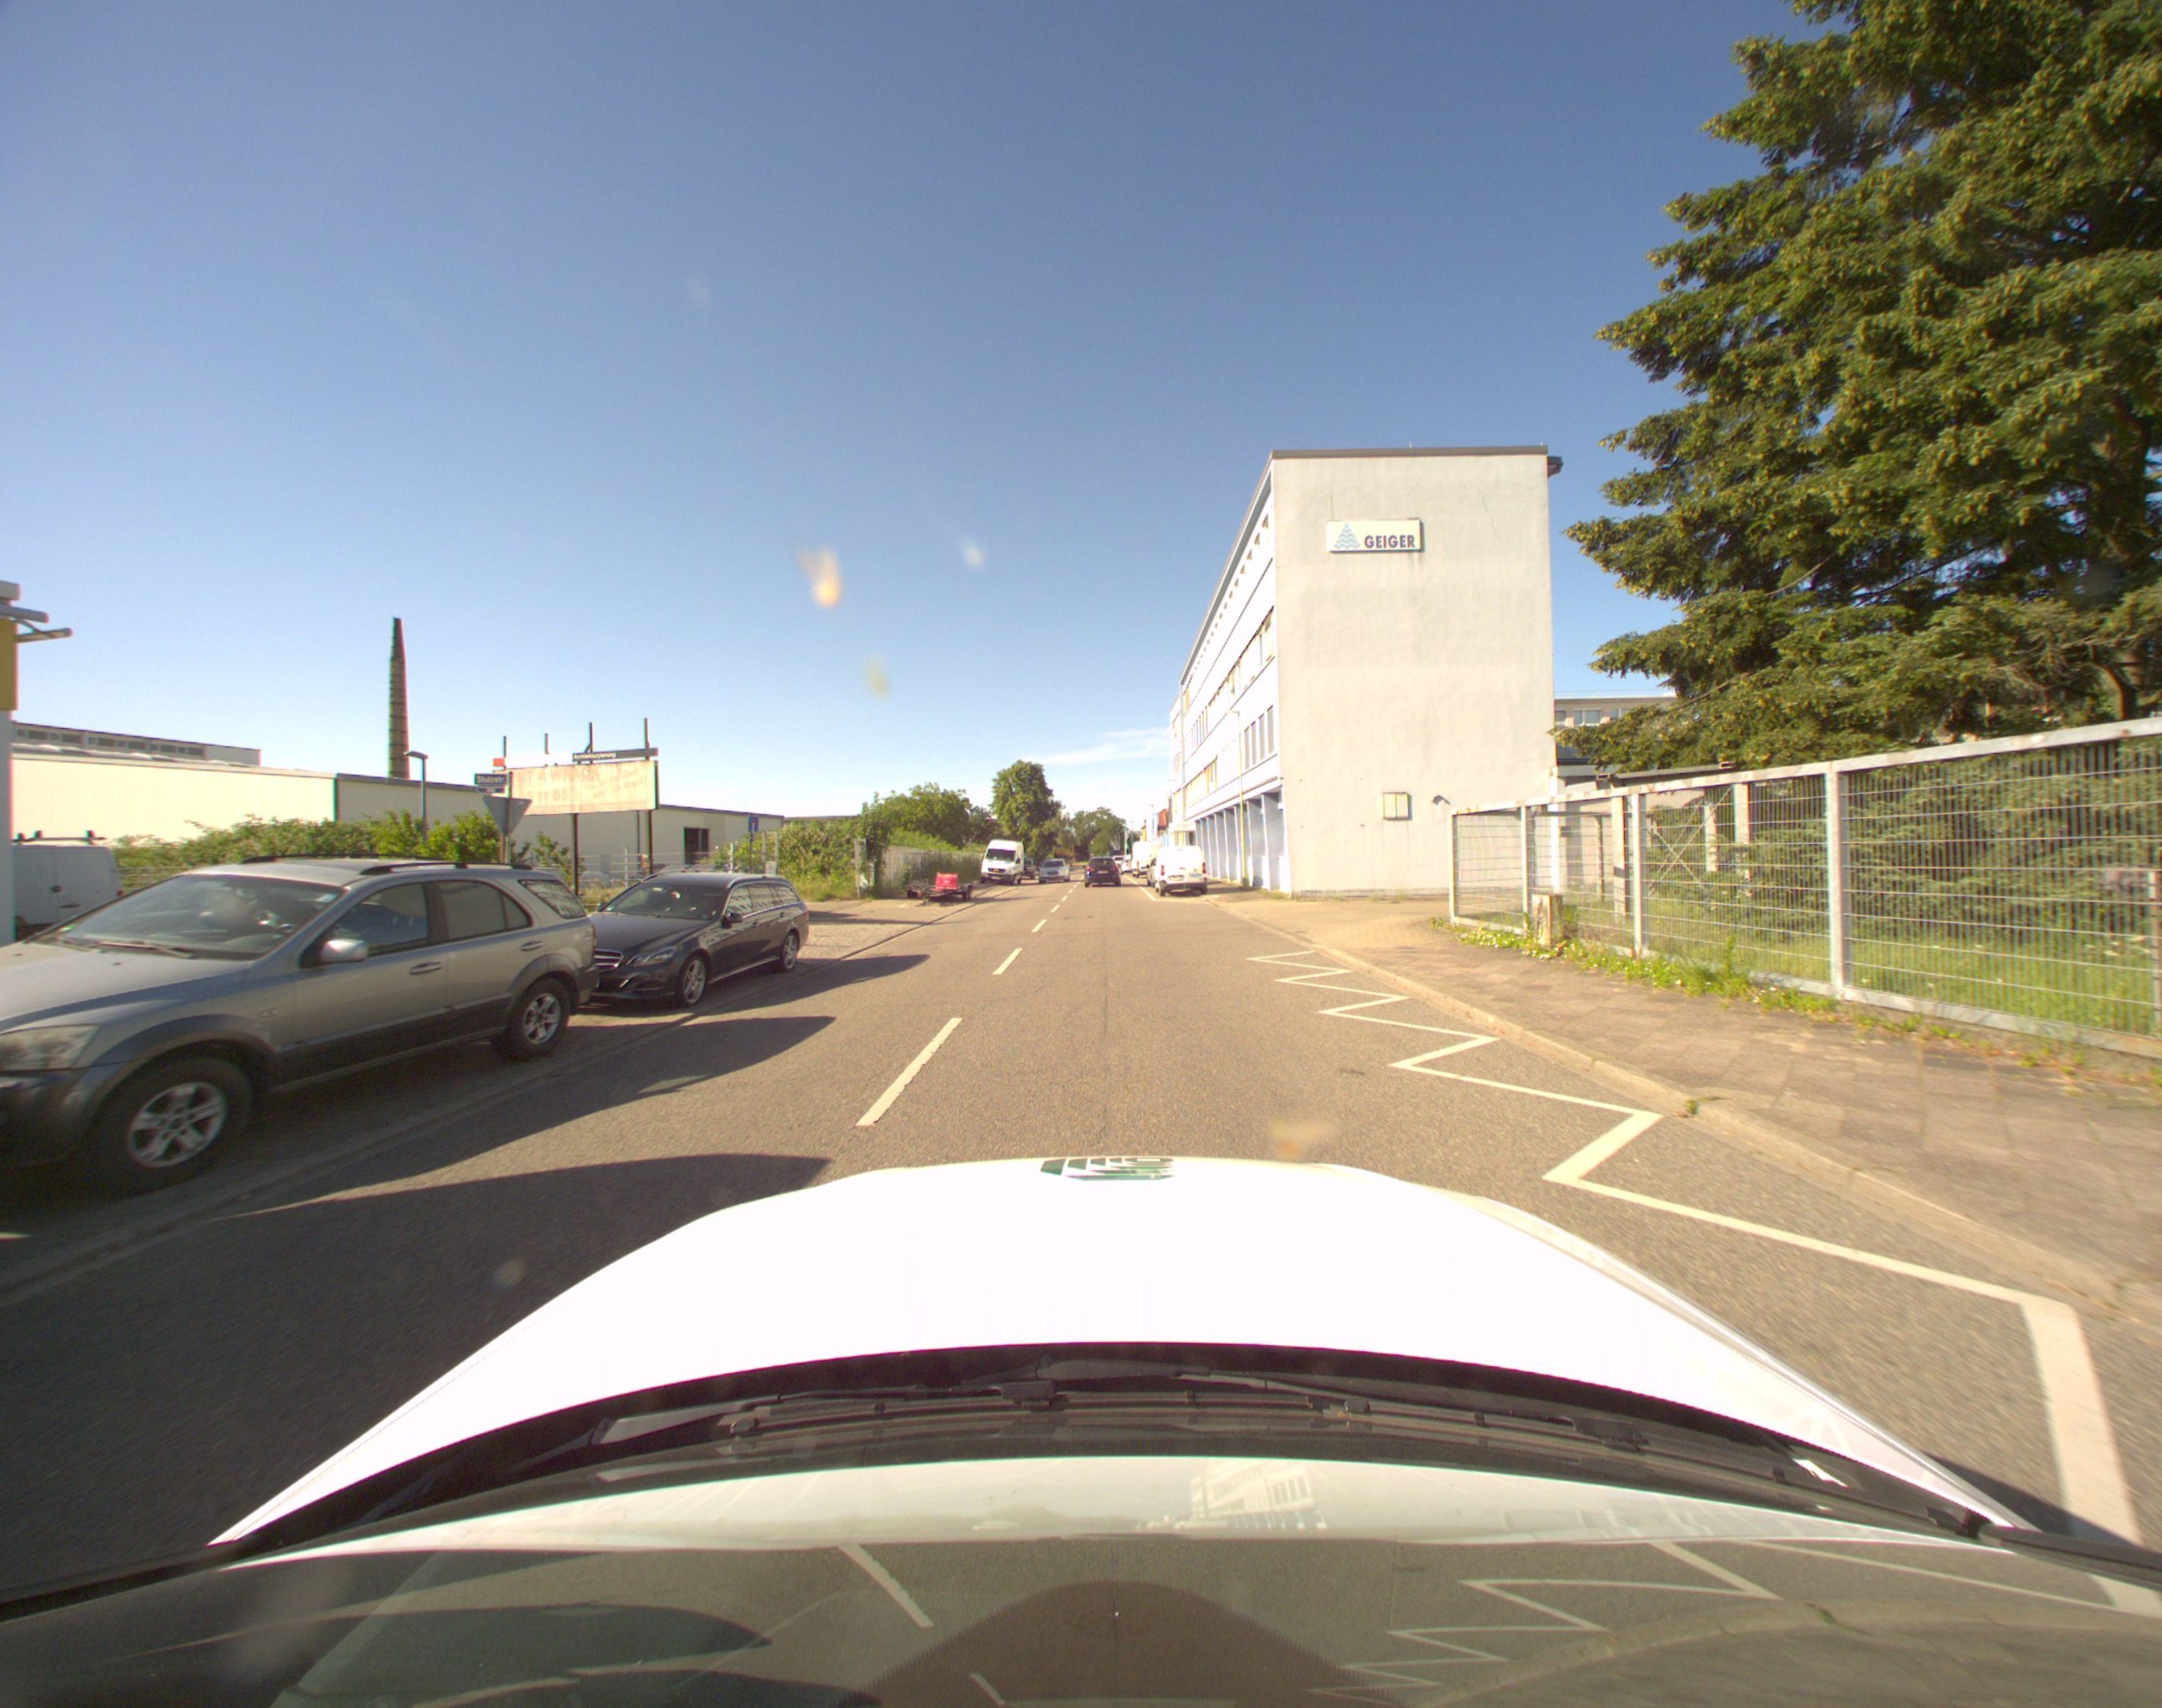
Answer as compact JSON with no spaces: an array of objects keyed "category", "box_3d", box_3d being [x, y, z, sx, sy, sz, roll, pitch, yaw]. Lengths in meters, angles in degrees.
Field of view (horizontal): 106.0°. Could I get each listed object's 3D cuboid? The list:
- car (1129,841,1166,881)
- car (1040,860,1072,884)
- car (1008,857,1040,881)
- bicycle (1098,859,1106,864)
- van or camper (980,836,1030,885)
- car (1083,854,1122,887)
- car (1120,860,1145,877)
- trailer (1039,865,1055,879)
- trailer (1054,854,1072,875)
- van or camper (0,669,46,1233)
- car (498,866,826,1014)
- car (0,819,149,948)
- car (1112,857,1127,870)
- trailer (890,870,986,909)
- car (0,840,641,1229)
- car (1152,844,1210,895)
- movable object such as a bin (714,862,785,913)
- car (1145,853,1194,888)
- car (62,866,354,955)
[{"category":"car","box_3d":[4.661,0.479,57.903,1.987,2.598,6.050,-3,0,0]},{"category":"car","box_3d":[-1.540,1.101,51.291,1.741,1.447,4.361,0,-1,1]},{"category":"car","box_3d":[-4.322,1.126,62.589,2.024,1.694,5.105,3,-1,0]},{"category":"bicycle","box_3d":[4.936,1.711,189.255,0.809,1.268,2.235,2,-2,-34]},{"category":"van or camper","box_3d":[-4.527,0.399,49.492,1.958,2.685,5.951,4,0,3]},{"category":"car","box_3d":[1.088,0.815,40.571,1.840,1.530,4.001,-2,-1,2]},{"category":"car","box_3d":[4.358,1.233,69.467,1.888,1.405,5.124,1,-1,1]},{"category":"trailer","box_3d":[-3.483,1.832,83.802,1.471,1.354,3.079,1,-1,1]},{"category":"trailer","box_3d":[-3.075,1.832,142.896,2.982,3.443,8.159,-1,-1,0]},{"category":"van or camper","box_3d":[-5.951,0.378,0.555,2.063,2.549,6.404,3,0,1]},{"category":"car","box_3d":[-5.344,0.973,11.375,1.793,1.510,5.004,3,-1,2]},{"category":"car","box_3d":[-22.592,0.615,16.940,5.396,2.406,2.216,-1,-1,18]},{"category":"car","box_3d":[5.382,1.319,113.824,1.879,1.798,5.102,1,-1,0]},{"category":"trailer","box_3d":[-5.218,1.281,30.693,2.368,1.080,6.246,3,0,1]},{"category":"car","box_3d":[-5.707,0.834,6.099,1.984,1.738,4.580,2,0,4]},{"category":"car","box_3d":[3.846,0.592,32.067,1.882,1.832,5.093,-1,-1,2]},{"category":"movable object such as a bin","box_3d":[-9.473,0.940,23.280,1.603,1.405,1.102,-1,-1,29]},{"category":"car","box_3d":[4.242,0.778,39.773,1.883,1.561,5.089,-1,-1,0]},{"category":"car","box_3d":[-16.805,1.050,15.773,4.131,1.574,1.922,-1,-1,11]}]
